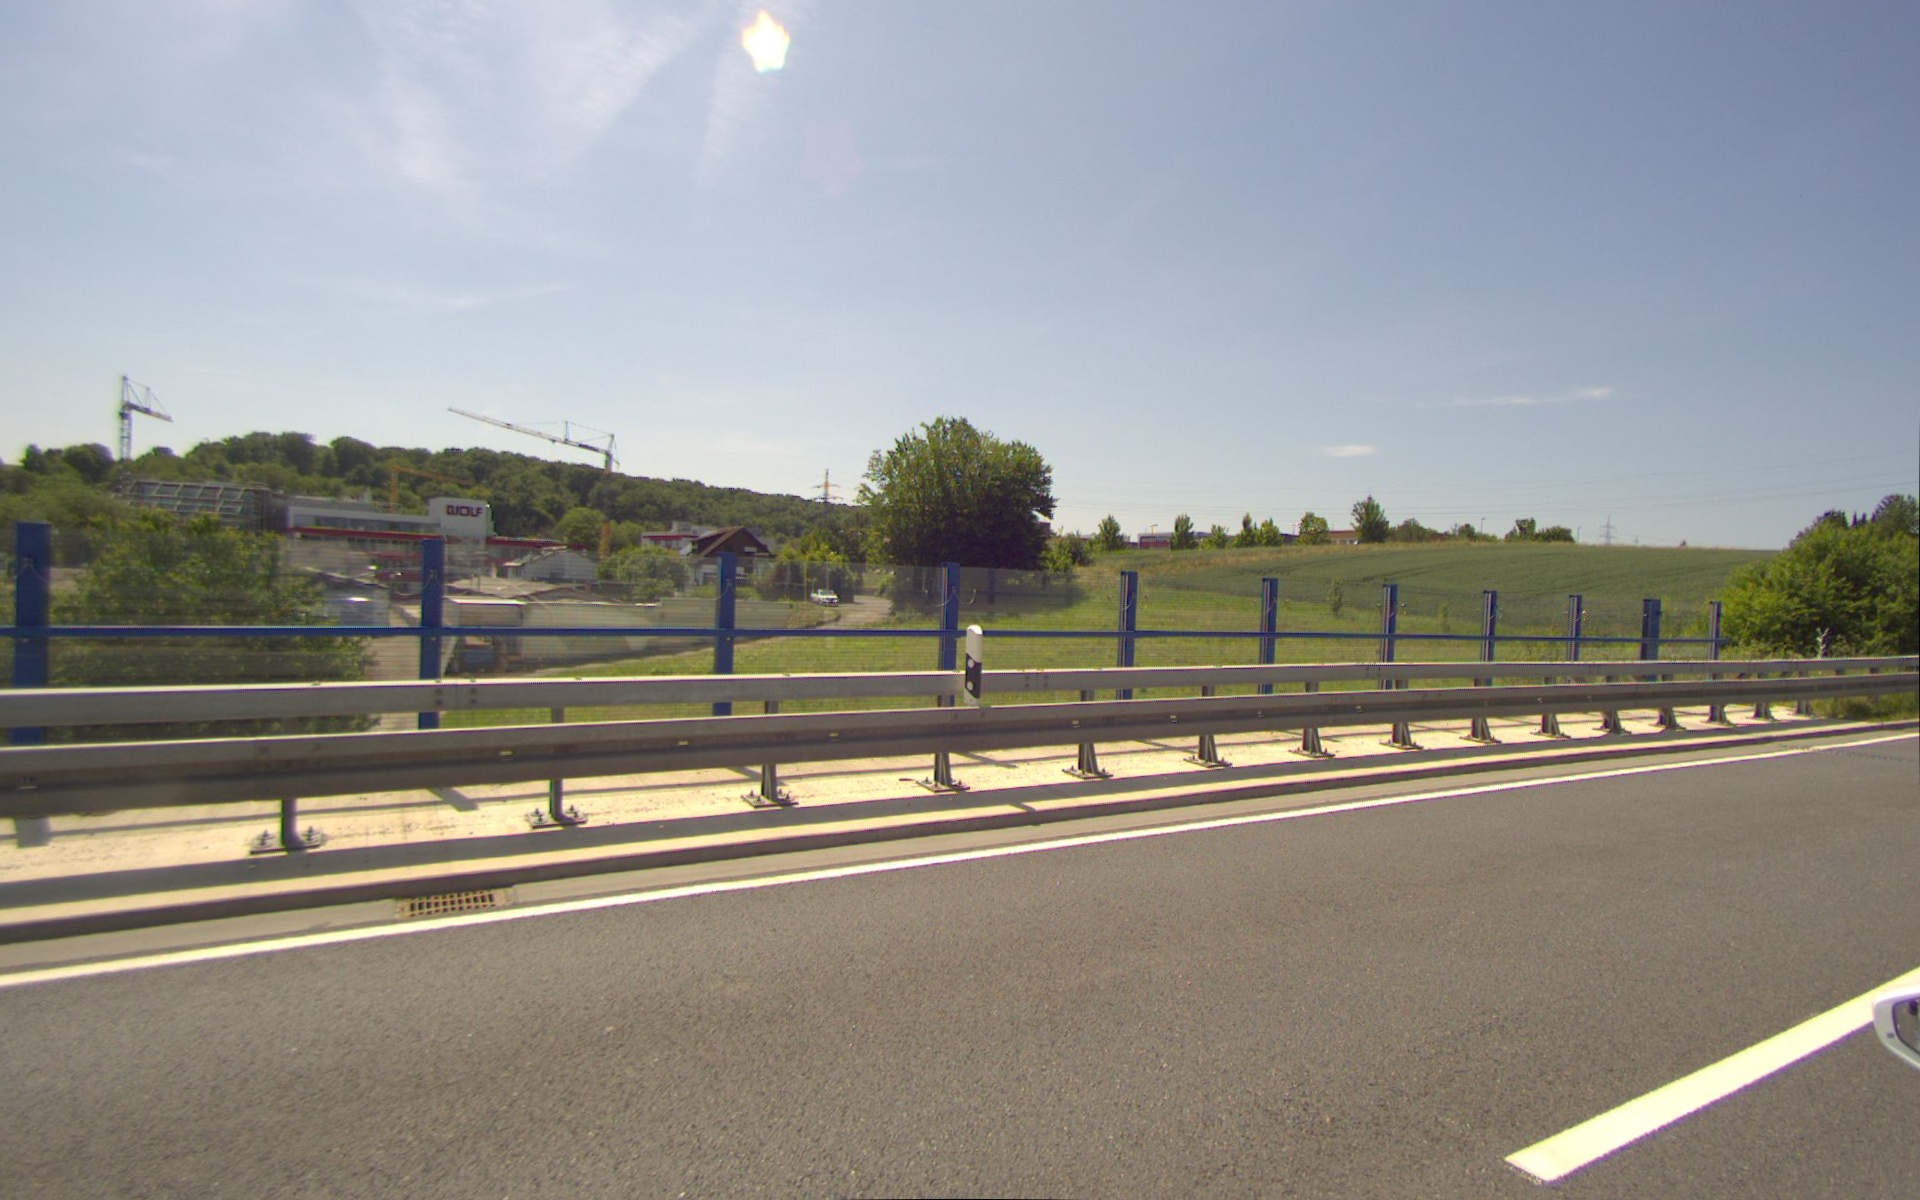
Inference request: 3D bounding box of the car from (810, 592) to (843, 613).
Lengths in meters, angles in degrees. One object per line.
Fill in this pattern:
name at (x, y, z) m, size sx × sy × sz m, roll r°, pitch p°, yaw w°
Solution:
car at (-12.281, 0.191, 92.208) m, size 1.807 × 1.625 × 3.973 m, roll -3°, pitch 4°, yaw -25°
